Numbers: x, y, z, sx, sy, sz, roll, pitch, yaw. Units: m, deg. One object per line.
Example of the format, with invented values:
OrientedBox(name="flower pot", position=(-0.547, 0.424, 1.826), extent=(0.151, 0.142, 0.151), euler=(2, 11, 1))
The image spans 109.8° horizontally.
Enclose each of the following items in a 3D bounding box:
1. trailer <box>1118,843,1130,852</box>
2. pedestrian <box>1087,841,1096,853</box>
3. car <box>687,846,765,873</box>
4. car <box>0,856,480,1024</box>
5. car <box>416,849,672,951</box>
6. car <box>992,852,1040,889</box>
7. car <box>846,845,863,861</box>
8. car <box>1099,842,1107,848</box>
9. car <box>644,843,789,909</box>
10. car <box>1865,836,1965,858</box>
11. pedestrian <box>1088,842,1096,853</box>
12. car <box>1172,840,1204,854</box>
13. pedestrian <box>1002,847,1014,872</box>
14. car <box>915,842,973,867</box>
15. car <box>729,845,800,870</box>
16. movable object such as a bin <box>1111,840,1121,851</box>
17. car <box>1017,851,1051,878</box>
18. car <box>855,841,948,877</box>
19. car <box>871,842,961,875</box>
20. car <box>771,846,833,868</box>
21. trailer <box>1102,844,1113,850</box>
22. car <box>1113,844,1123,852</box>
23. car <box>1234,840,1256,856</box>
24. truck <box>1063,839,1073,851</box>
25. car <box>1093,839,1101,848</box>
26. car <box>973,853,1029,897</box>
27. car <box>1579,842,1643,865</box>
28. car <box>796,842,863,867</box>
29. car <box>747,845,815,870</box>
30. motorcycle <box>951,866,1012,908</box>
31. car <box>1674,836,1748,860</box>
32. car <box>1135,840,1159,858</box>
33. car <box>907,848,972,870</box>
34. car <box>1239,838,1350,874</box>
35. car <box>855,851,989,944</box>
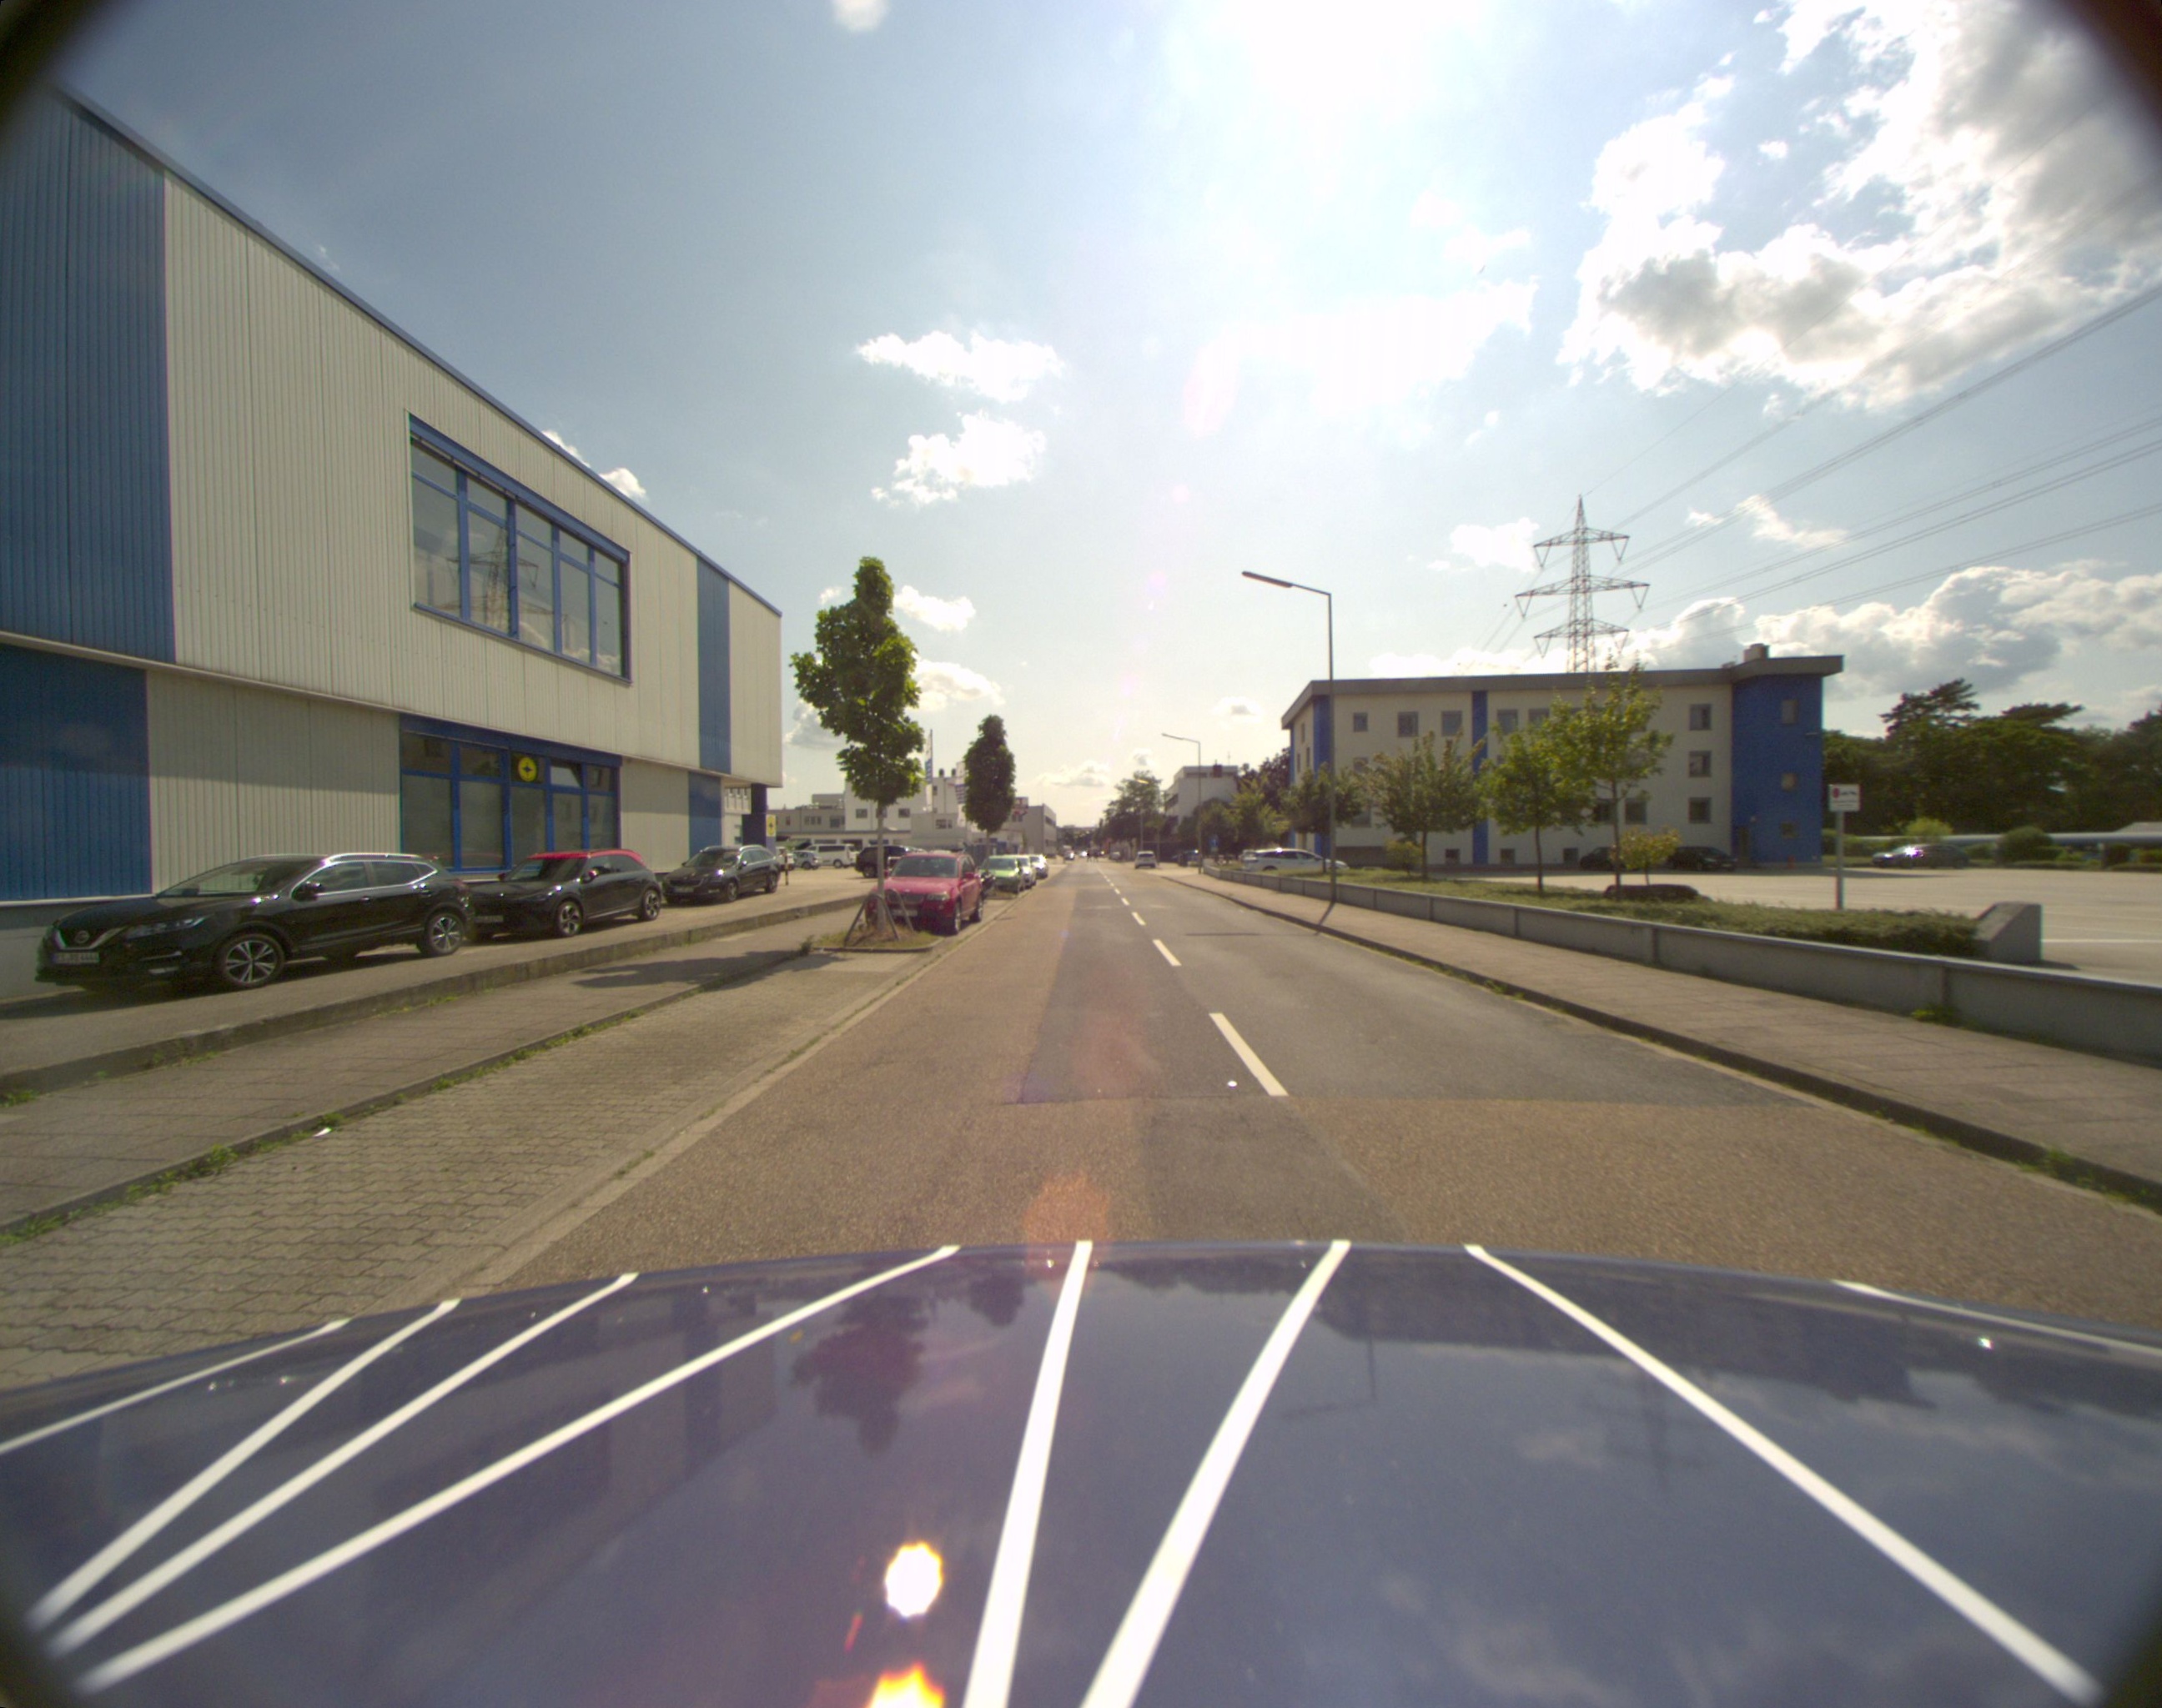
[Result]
OrientedBox(name="trailer", position=(7.324, -1.171, 129.627), extent=(1.771, 1.431, 4.335), euler=(-3, 1, 1))
OrientedBox(name="pedestrian", position=(1.689, -1.080, 120.909), extent=(0.994, 1.940, 1.089), euler=(0, 1, -22))
OrientedBox(name="car", position=(-22.413, 0.342, 48.031), extent=(3.997, 1.692, 1.934), euler=(0, 1, 0))
OrientedBox(name="car", position=(-10.583, 0.913, 10.104), extent=(1.718, 1.642, 4.213), euler=(0, 2, 1))
OrientedBox(name="car", position=(-10.451, 0.783, 15.300), extent=(1.998, 1.648, 4.288), euler=(0, 2, 1))
OrientedBox(name="car", position=(-2.953, 0.727, 35.331), extent=(1.840, 1.512, 4.460), euler=(-1, 1, 0))
OrientedBox(name="car", position=(-22.332, -0.110, 74.804), extent=(1.558, 1.513, 3.993), euler=(0, 1, -18))
OrientedBox(name="car", position=(5.970, -2.447, 207.511), extent=(1.714, 1.459, 4.628), euler=(-3, 1, -1))
OrientedBox(name="car", position=(-10.304, 0.539, 21.921), extent=(1.832, 1.504, 4.638), euler=(0, 3, 1))
OrientedBox(name="car", position=(48.893, -0.390, 44.592), extent=(3.604, 1.244, 1.805), euler=(0, 1, 9))
OrientedBox(name="pedestrian", position=(1.772, -1.076, 122.251), extent=(0.860, 1.797, 1.003), euler=(0, 1, -22))
OrientedBox(name="car", position=(13.200, -0.922, 93.806), extent=(3.657, 1.699, 1.878), euler=(0, 1, 0))
OrientedBox(name="pedestrian", position=(-5.318, 0.376, 55.200), extent=(0.771, 1.746, 0.787), euler=(1, 2, 0))
OrientedBox(name="car", position=(-9.807, 0.003, 54.648), extent=(3.816, 1.671, 1.791), euler=(-1, 1, 0))
OrientedBox(name="car", position=(-21.158, 0.232, 50.884), extent=(3.997, 1.621, 1.806), euler=(0, 1, 0))
OrientedBox(name="movable object such as a bin", position=(7.005, -1.712, 153.008), extent=(1.618, 1.908, 5.137), euler=(-4, 1, 0))
OrientedBox(name="car", position=(-2.913, 0.609, 47.958), extent=(1.872, 1.512, 4.597), euler=(-1, 1, 0))
OrientedBox(name="car", position=(-8.731, 0.225, 37.254), extent=(4.094, 1.676, 1.999), euler=(-1, 1, -1))
OrientedBox(name="car", position=(-8.536, 0.205, 39.614), extent=(4.237, 1.637, 2.147), euler=(-1, 1, -1))
OrientedBox(name="car", position=(-20.932, 0.211, 57.109), extent=(3.891, 1.478, 1.864), euler=(1, 2, 4))
OrientedBox(name="trailer", position=(6.540, -1.727, 189.007), extent=(2.457, 1.157, 6.051), euler=(-2, 1, 0))
OrientedBox(name="car", position=(7.120, -1.225, 146.034), extent=(1.677, 1.447, 4.513), euler=(-2, 1, 1))
OrientedBox(name="car", position=(17.583, -0.673, 81.511), extent=(1.828, 1.627, 4.846), euler=(0, 1, 6))
OrientedBox(name="truck", position=(-3.529, -2.522, 207.882), extent=(2.607, 3.207, 8.075), euler=(-3, 1, 0))
OrientedBox(name="car", position=(4.991, -3.346, 239.108), extent=(2.079, 2.527, 5.822), euler=(-3, 1, -2))
OrientedBox(name="car", position=(-3.080, 0.788, 29.896), extent=(1.673, 1.512, 3.994), euler=(-1, 1, 1))
OrientedBox(name="car", position=(32.175, -0.052, 46.249), extent=(1.565, 1.368, 3.681), euler=(0, 1, 5))
OrientedBox(name="car", position=(-20.829, 0.012, 63.006), extent=(4.690, 1.925, 2.276), euler=(-1, 1, 2))
OrientedBox(name="car", position=(-21.113, 0.245, 53.592), extent=(3.997, 1.681, 1.806), euler=(0, 1, 0))
OrientedBox(name="motorcycle", position=(-3.079, 1.002, 23.756), extent=(0.856, 1.194, 2.366), euler=(0, 1, 21))
OrientedBox(name="car", position=(37.079, -0.366, 44.830), extent=(1.565, 1.368, 3.681), euler=(0, 1, 5))
OrientedBox(name="car", position=(6.406, -0.538, 74.396), extent=(1.872, 1.698, 4.752), euler=(-1, 1, 0))
OrientedBox(name="car", position=(-9.690, 0.328, 52.258), extent=(3.996, 1.412, 2.000), euler=(0, 1, 1))
OrientedBox(name="car", position=(10.117, 0.063, 36.273), extent=(4.766, 1.593, 2.000), euler=(-1, 1, 1))
OrientedBox(name="car", position=(-3.279, 0.820, 16.640), extent=(1.759, 1.641, 4.677), euler=(-1, 1, 2))
